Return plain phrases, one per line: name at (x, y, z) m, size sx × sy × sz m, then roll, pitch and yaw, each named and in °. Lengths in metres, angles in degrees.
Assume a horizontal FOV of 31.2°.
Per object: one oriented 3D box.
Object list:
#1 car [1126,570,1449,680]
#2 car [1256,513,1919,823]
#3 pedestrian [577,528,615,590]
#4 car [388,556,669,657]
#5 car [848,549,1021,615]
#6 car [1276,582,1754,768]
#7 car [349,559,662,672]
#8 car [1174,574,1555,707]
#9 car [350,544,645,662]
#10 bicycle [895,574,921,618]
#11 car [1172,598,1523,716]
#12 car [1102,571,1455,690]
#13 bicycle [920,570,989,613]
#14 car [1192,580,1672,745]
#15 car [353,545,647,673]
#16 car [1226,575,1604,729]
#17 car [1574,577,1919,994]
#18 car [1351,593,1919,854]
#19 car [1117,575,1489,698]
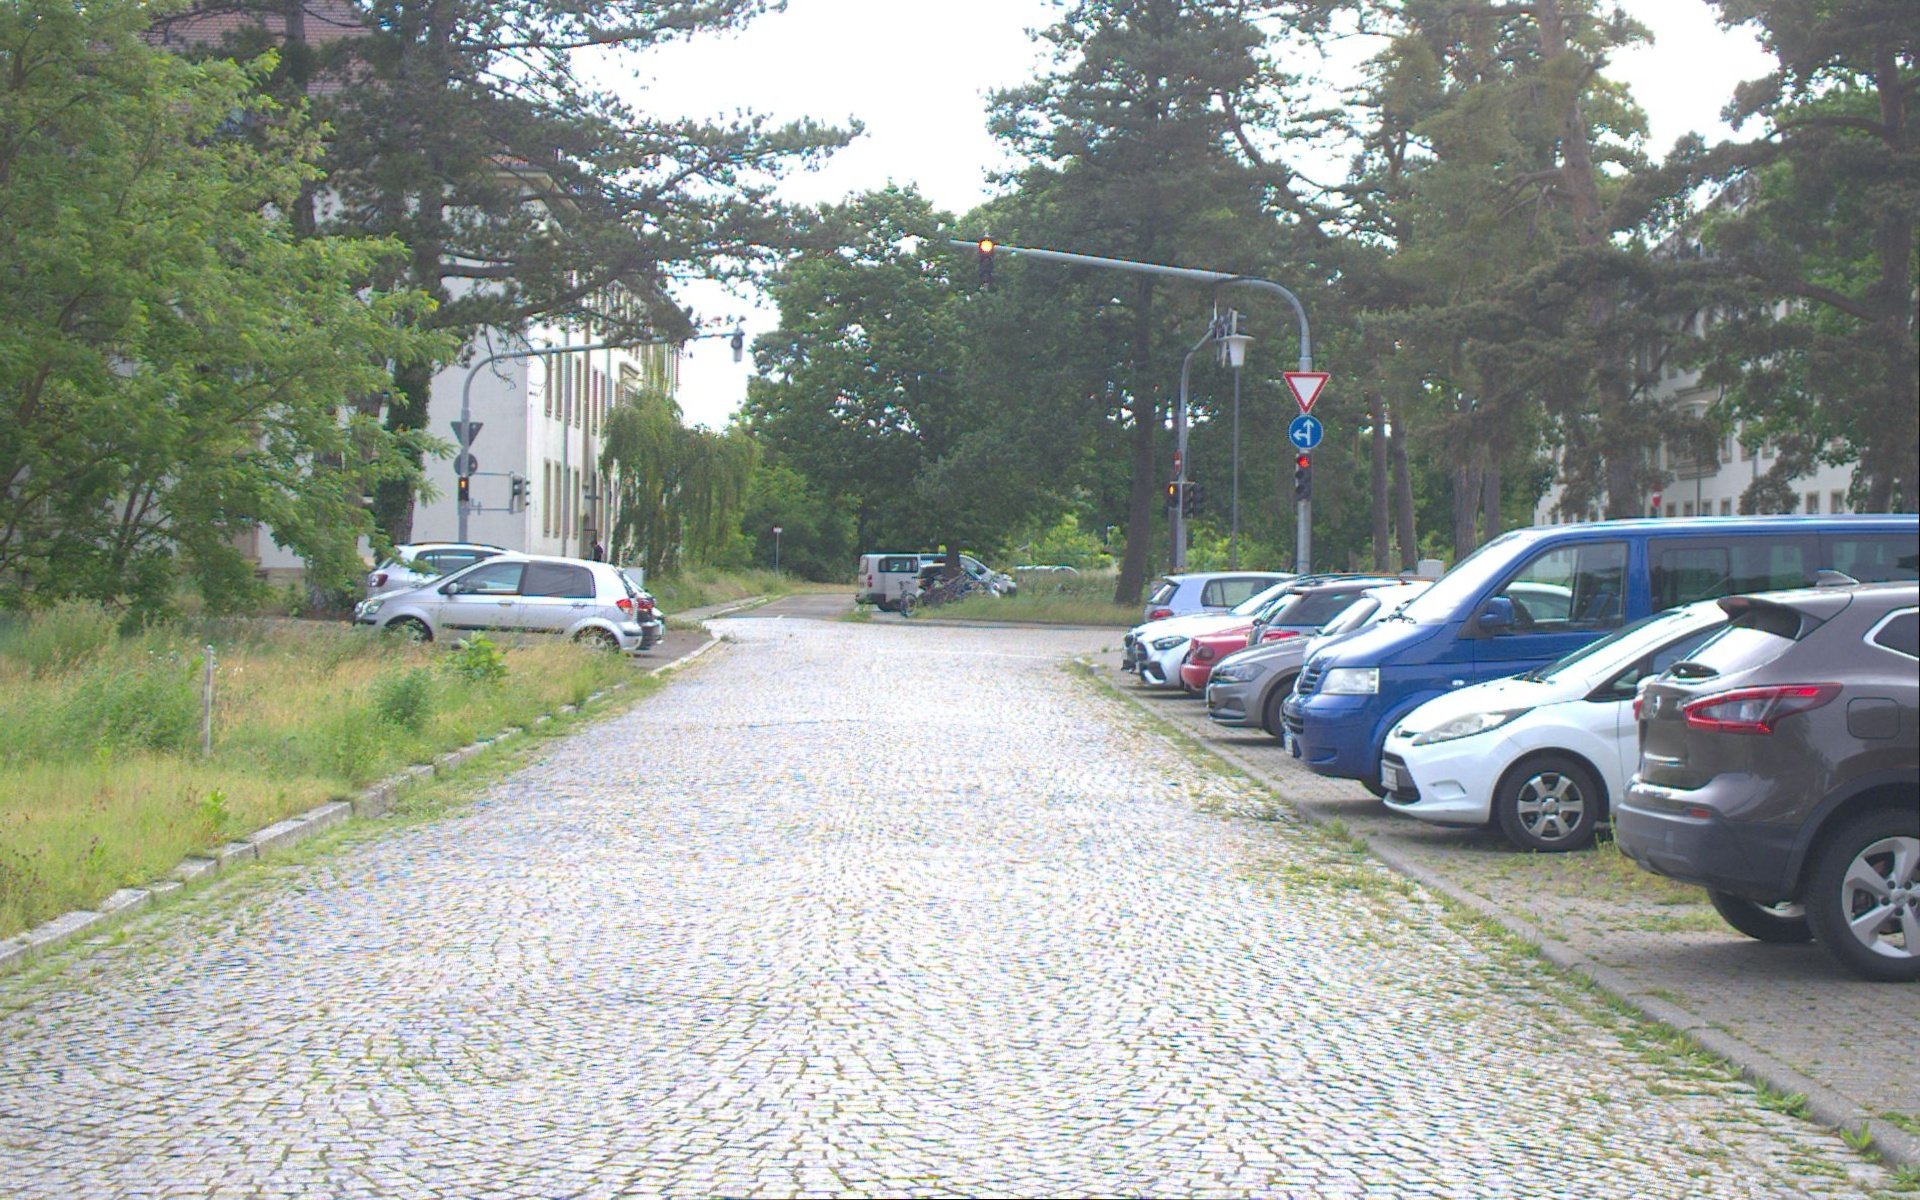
car at (4.444, 0.330, 46.928) m, size 4.134 × 1.458 × 1.634 m, roll 0°, pitch 1°, yaw -6°
car at (4.512, 0.425, 23.194) m, size 4.795 × 1.997 × 1.966 m, roll 0°, pitch 1°, yaw -3°
pedestrian at (-11.789, -1.329, 111.361) m, size 1.074 × 1.952 × 1.121 m, roll 2°, pitch 0°, yaw -1°
car at (-6.725, 0.085, 53.723) m, size 4.297 × 1.548 × 1.812 m, roll 0°, pitch 1°, yaw -7°
car at (-0.858, -0.610, 113.791) m, size 5.374 × 2.094 × 2.179 m, roll 1°, pitch 1°, yaw -13°
car at (4.540, 0.602, 28.505) m, size 3.653 × 1.474 × 1.766 m, roll 0°, pitch 1°, yaw -1°
car at (-6.380, 0.204, 48.468) m, size 4.297 × 1.548 × 1.812 m, roll 0°, pitch 1°, yaw -7°
car at (4.577, 0.445, 39.247) m, size 4.104 × 1.471 × 1.685 m, roll 0°, pitch 1°, yaw -2°
car at (-6.866, 0.026, 51.266) m, size 4.297 × 1.726 × 1.653 m, roll 0°, pitch 1°, yaw -6°
bicycle at (-1.423, -0.118, 94.347) m, size 0.663 × 1.167 × 1.888 m, roll 2°, pitch 0°, yaw -1°
car at (4.119, 0.598, 36.900) m, size 3.586 × 1.218 × 1.628 m, roll 0°, pitch 1°, yaw 0°
car at (4.087, 0.372, 44.370) m, size 4.227 × 1.474 × 1.710 m, roll 0°, pitch 1°, yaw -11°
bicycle at (-0.147, -0.244, 98.995) m, size 1.881 × 1.167 × 0.665 m, roll 2°, pitch 0°, yaw -6°
car at (4.247, 0.551, 31.407) m, size 4.130 × 1.442 × 1.766 m, roll 0°, pitch 1°, yaw 0°
car at (-6.096, 0.109, 45.873) m, size 3.720 × 1.476 × 1.673 m, roll 3°, pitch 1°, yaw -4°
car at (4.495, 0.496, 34.277) m, size 3.505 × 1.482 × 1.743 m, roll 0°, pitch 1°, yaw -1°
car at (4.862, 0.708, 14.297) m, size 4.203 × 1.589 × 1.953 m, roll 0°, pitch 1°, yaw -3°
car at (4.534, 0.704, 20.651) m, size 4.097 × 1.474 × 1.722 m, roll 0°, pitch 1°, yaw -4°
car at (4.121, 0.426, 41.604) m, size 4.184 × 1.432 × 1.756 m, roll 0°, pitch 1°, yaw -8°
